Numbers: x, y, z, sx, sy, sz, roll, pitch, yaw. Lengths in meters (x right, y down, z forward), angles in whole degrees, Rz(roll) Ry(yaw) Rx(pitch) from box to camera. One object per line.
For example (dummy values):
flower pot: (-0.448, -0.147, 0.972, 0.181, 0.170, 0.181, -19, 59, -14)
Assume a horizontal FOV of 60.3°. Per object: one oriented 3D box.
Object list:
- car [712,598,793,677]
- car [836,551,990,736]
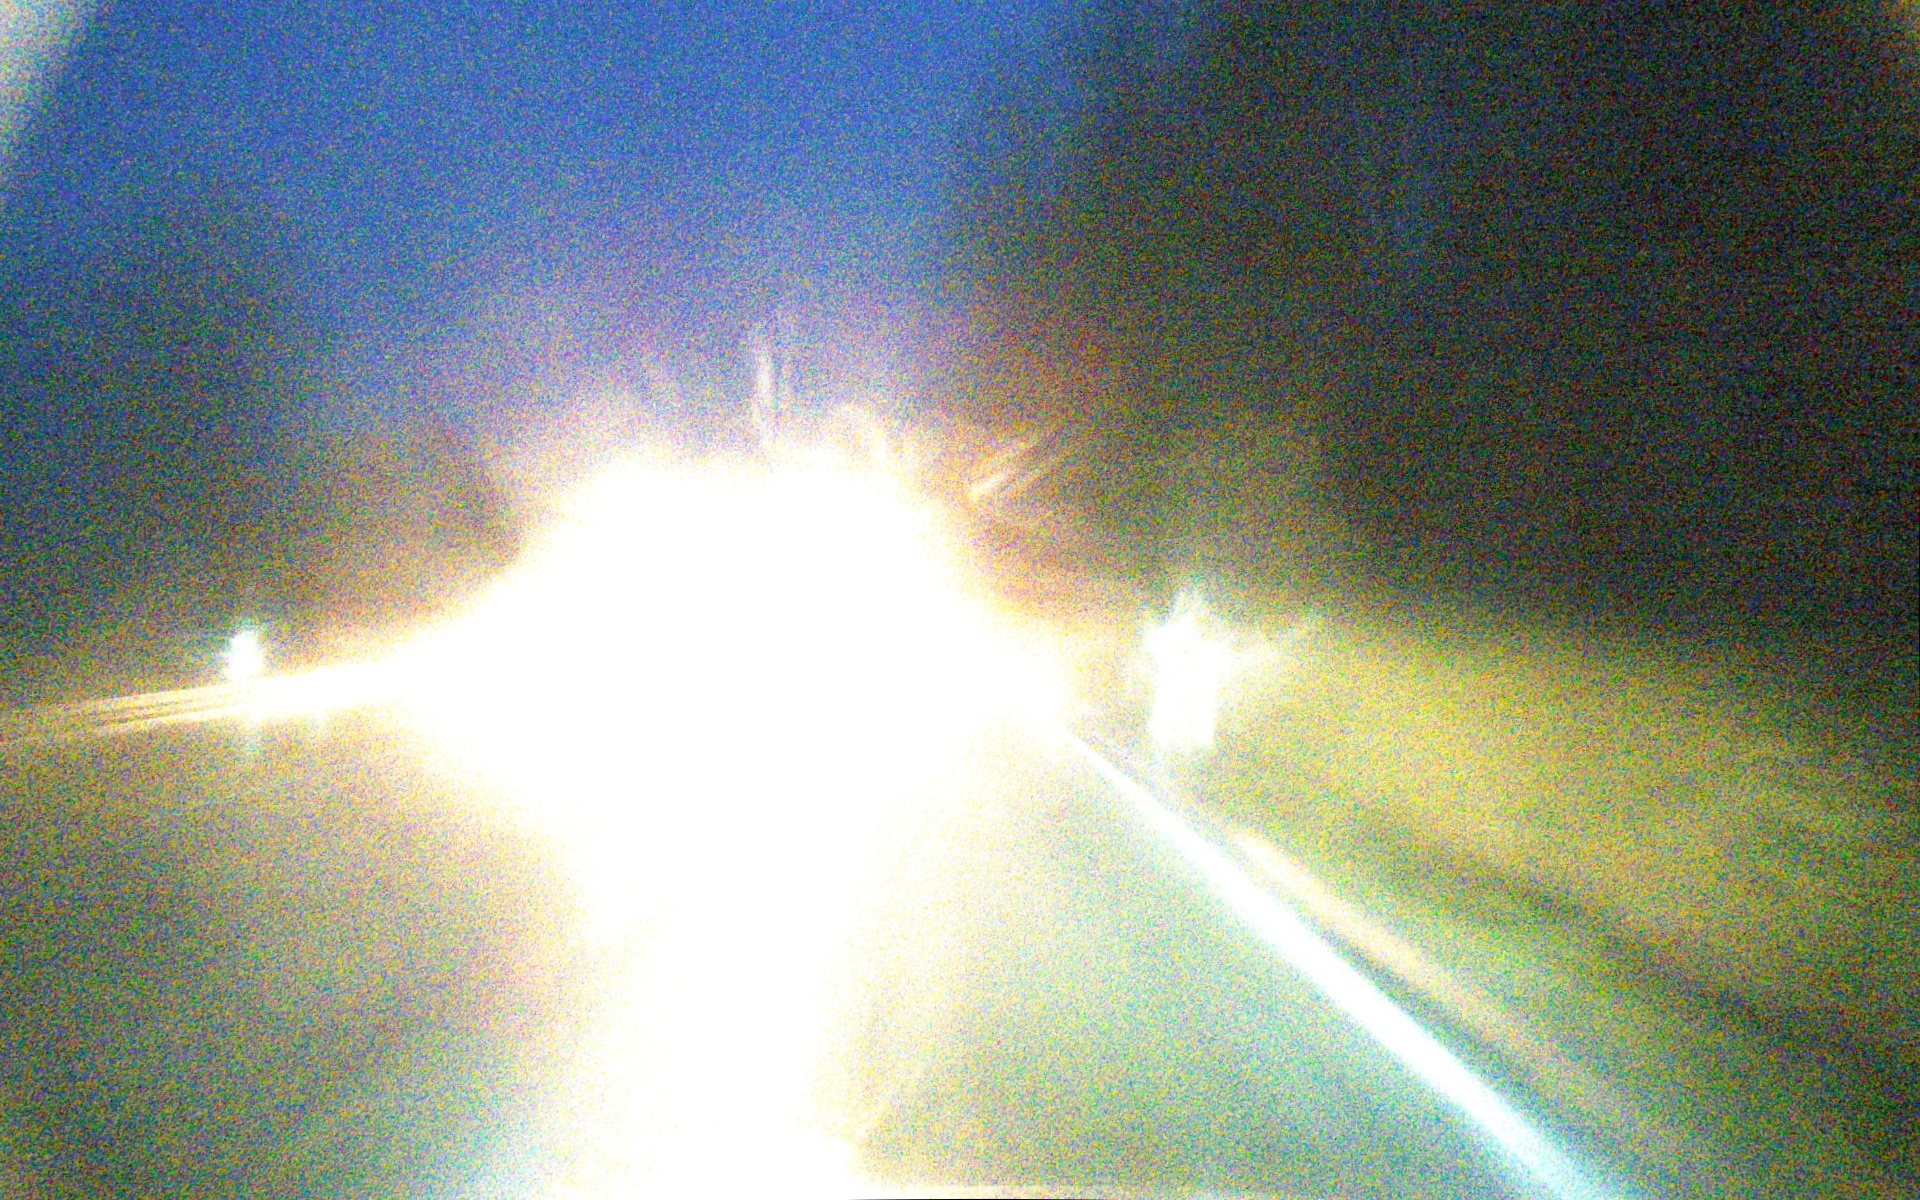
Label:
car: (-5.724, 0.990, 46.015, 1.954, 2.049, 4.452, -1, 0, -4)
car: (-0.808, 0.610, 26.567, 2.138, 2.601, 4.505, 3, 1, -3)
